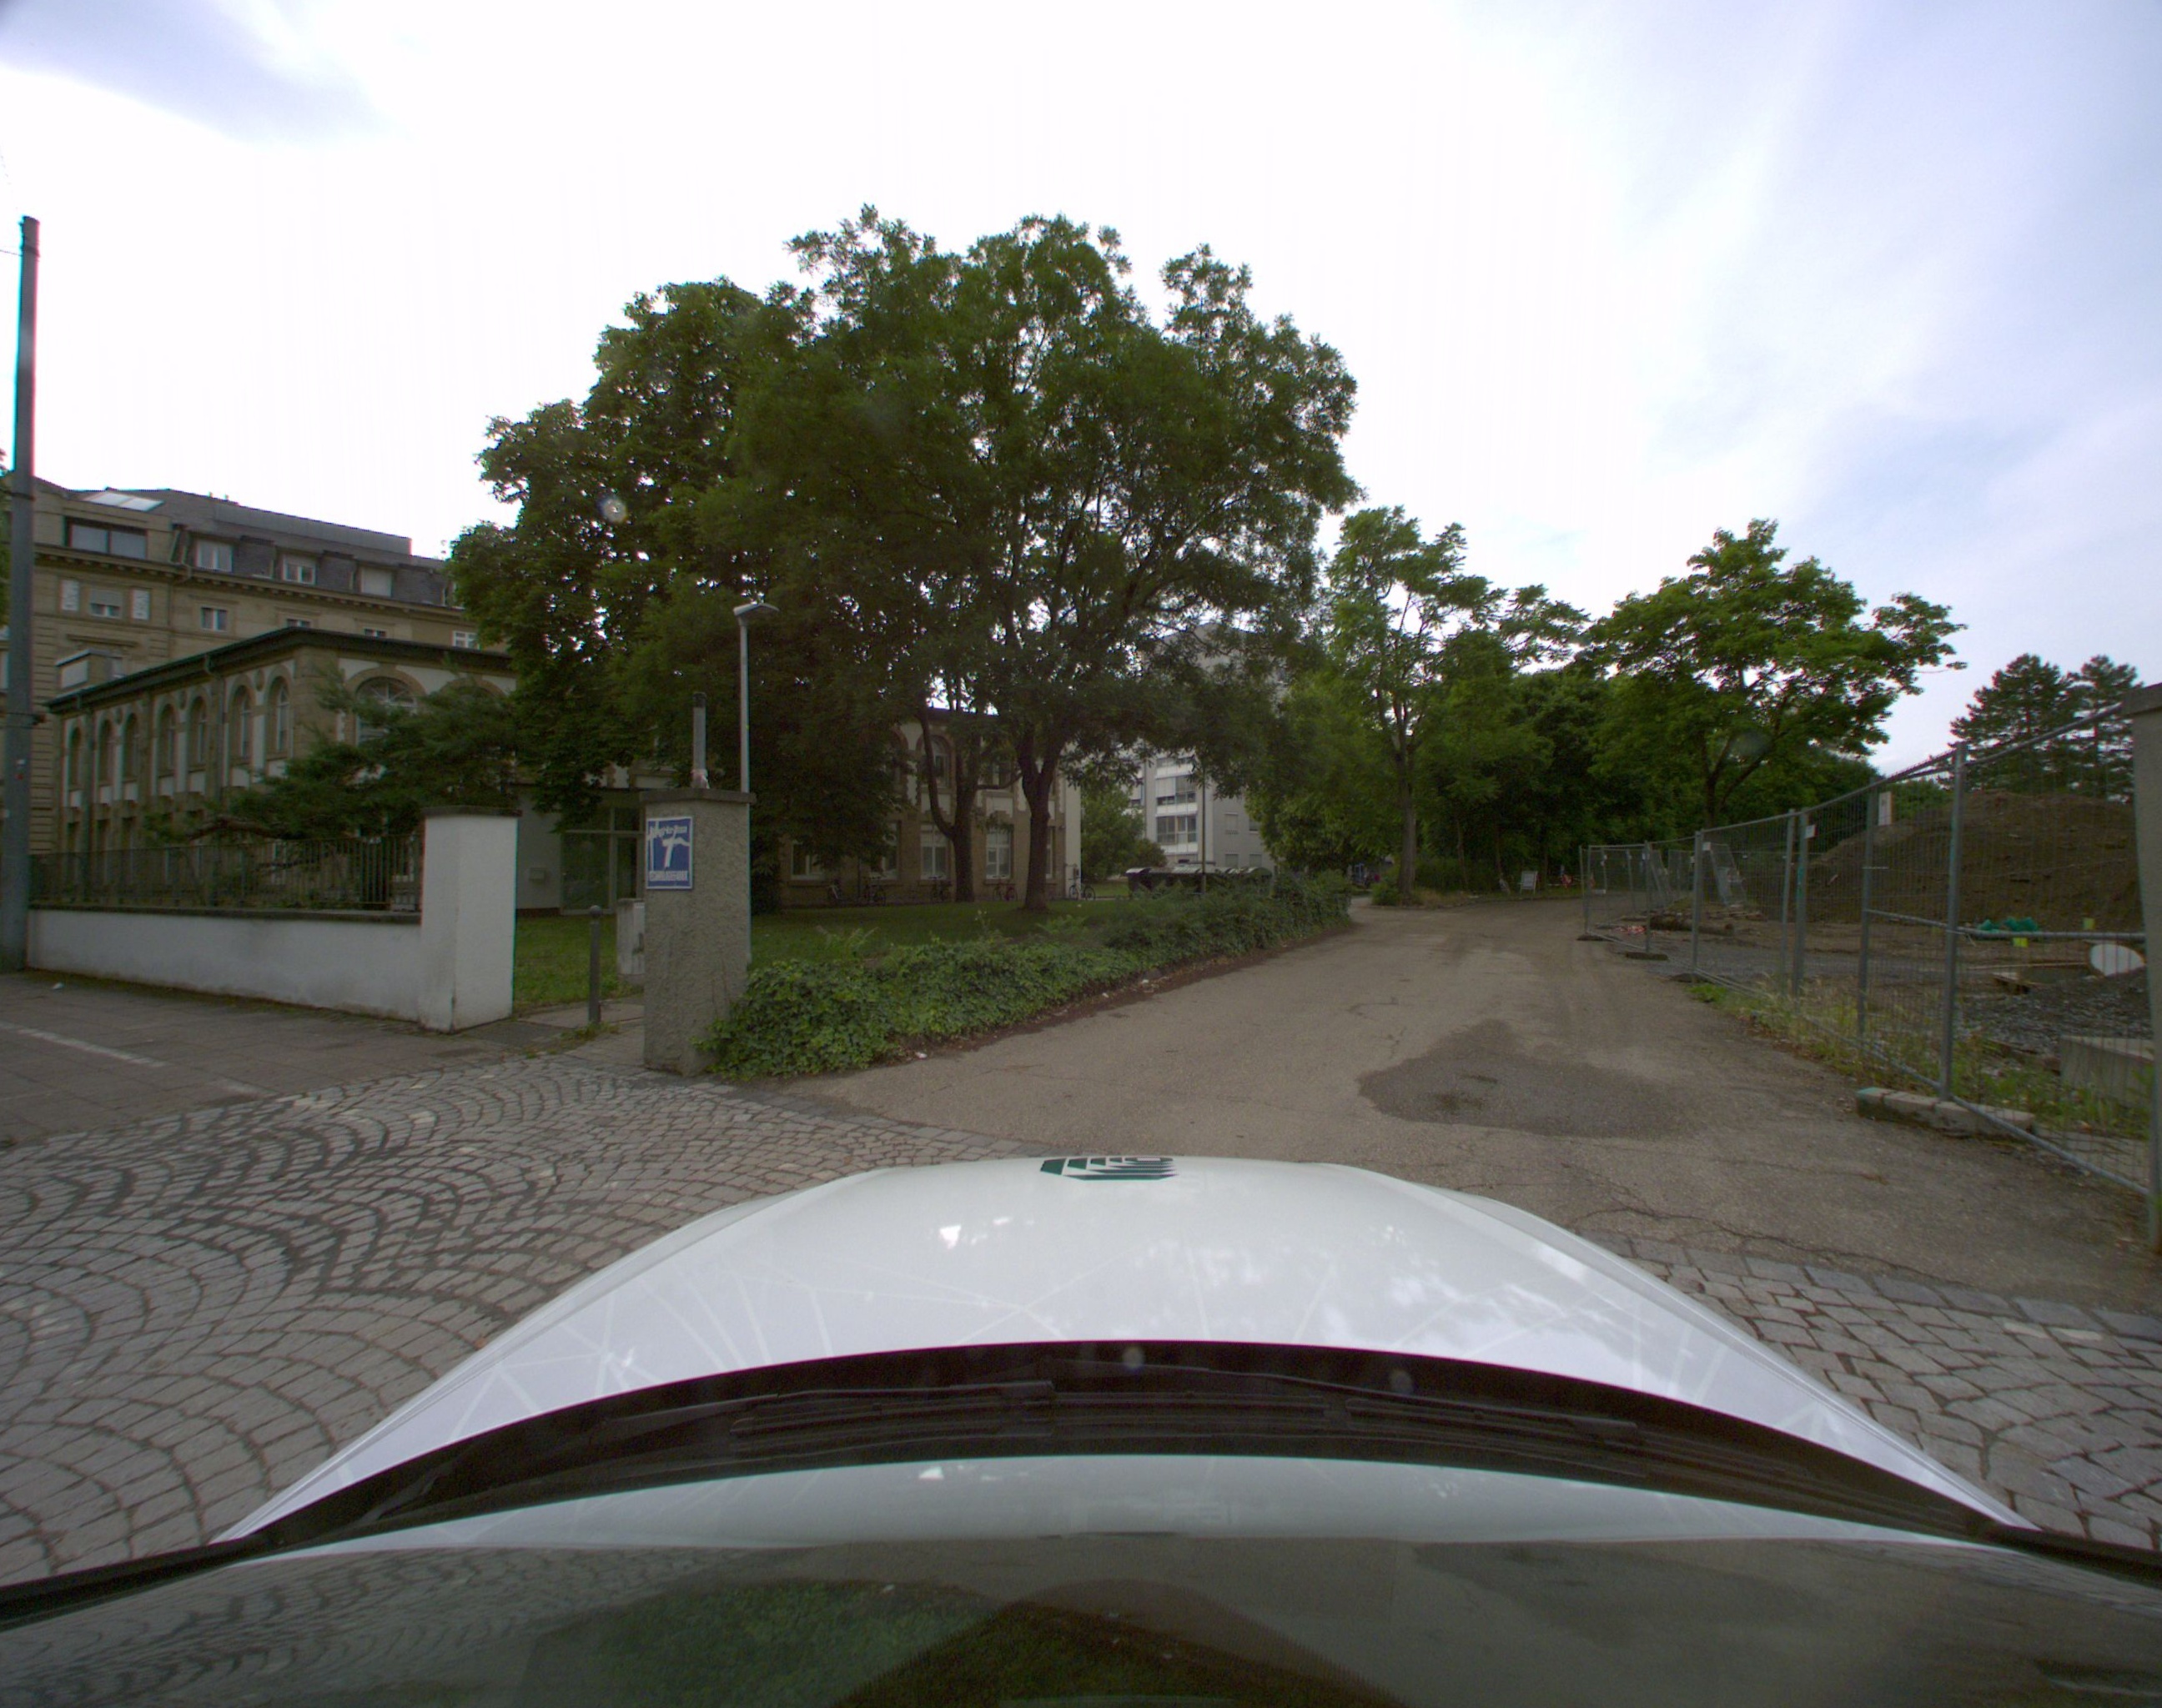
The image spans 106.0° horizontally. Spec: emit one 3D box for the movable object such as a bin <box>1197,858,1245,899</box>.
[{"bbox_3d":[5.066,0.898,29.501,1.061,1.456,1.338,2,-3,-41],"label":"movable object such as a bin"}]

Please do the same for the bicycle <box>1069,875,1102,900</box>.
[{"bbox_3d":[0.171,1.431,34.944,0.398,1.065,1.808,1,-2,-37],"label":"bicycle"}]

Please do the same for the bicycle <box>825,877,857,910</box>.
[{"bbox_3d":[-8.498,1.375,28.810,0.620,1.120,2.200,0,-2,-29],"label":"bicycle"}]

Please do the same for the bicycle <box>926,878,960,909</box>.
[{"bbox_3d":[-5.272,1.488,31.018,0.620,1.120,2.200,0,-2,-29],"label":"bicycle"}]

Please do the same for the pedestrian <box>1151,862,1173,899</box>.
[{"bbox_3d":[3.934,1.287,39.616,0.760,1.809,0.690,1,-4,-40],"label":"pedestrian"}]

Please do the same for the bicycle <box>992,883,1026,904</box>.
[{"bbox_3d":[-2.900,1.571,32.738,0.620,0.813,1.926,0,-2,-29],"label":"bicycle"}]

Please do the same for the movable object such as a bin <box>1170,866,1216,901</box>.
[{"bbox_3d":[4.209,1.105,30.665,1.061,1.265,1.338,1,-2,-41],"label":"movable object such as a bin"}]

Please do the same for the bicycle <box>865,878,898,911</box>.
[{"bbox_3d":[-7.249,1.444,29.515,0.620,1.120,2.200,0,-2,-29],"label":"bicycle"}]

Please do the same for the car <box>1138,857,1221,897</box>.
[{"bbox_3d":[5.207,1.227,42.757,4.373,2.014,1.832,2,-3,-40],"label":"car"}]

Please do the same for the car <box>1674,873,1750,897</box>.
[{"bbox_3d":[42.777,2.071,55.288,1.874,1.501,3.673,1,-1,-32],"label":"car"}]

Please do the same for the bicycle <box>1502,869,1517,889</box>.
[{"bbox_3d":[19.457,1.132,36.954,0.414,0.906,1.161,-1,-2,38],"label":"bicycle"}]

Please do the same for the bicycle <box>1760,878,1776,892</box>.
[{"bbox_3d":[51.127,2.310,60.583,0.763,0.978,2.044,-1,-2,43],"label":"bicycle"}]

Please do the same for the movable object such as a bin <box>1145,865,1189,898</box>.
[{"bbox_3d":[3.363,1.056,31.929,1.062,1.265,1.337,1,-2,-44],"label":"movable object such as a bin"}]

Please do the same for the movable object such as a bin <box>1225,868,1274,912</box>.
[{"bbox_3d":[5.837,1.232,28.303,1.058,1.450,1.343,1,0,-27],"label":"movable object such as a bin"}]
